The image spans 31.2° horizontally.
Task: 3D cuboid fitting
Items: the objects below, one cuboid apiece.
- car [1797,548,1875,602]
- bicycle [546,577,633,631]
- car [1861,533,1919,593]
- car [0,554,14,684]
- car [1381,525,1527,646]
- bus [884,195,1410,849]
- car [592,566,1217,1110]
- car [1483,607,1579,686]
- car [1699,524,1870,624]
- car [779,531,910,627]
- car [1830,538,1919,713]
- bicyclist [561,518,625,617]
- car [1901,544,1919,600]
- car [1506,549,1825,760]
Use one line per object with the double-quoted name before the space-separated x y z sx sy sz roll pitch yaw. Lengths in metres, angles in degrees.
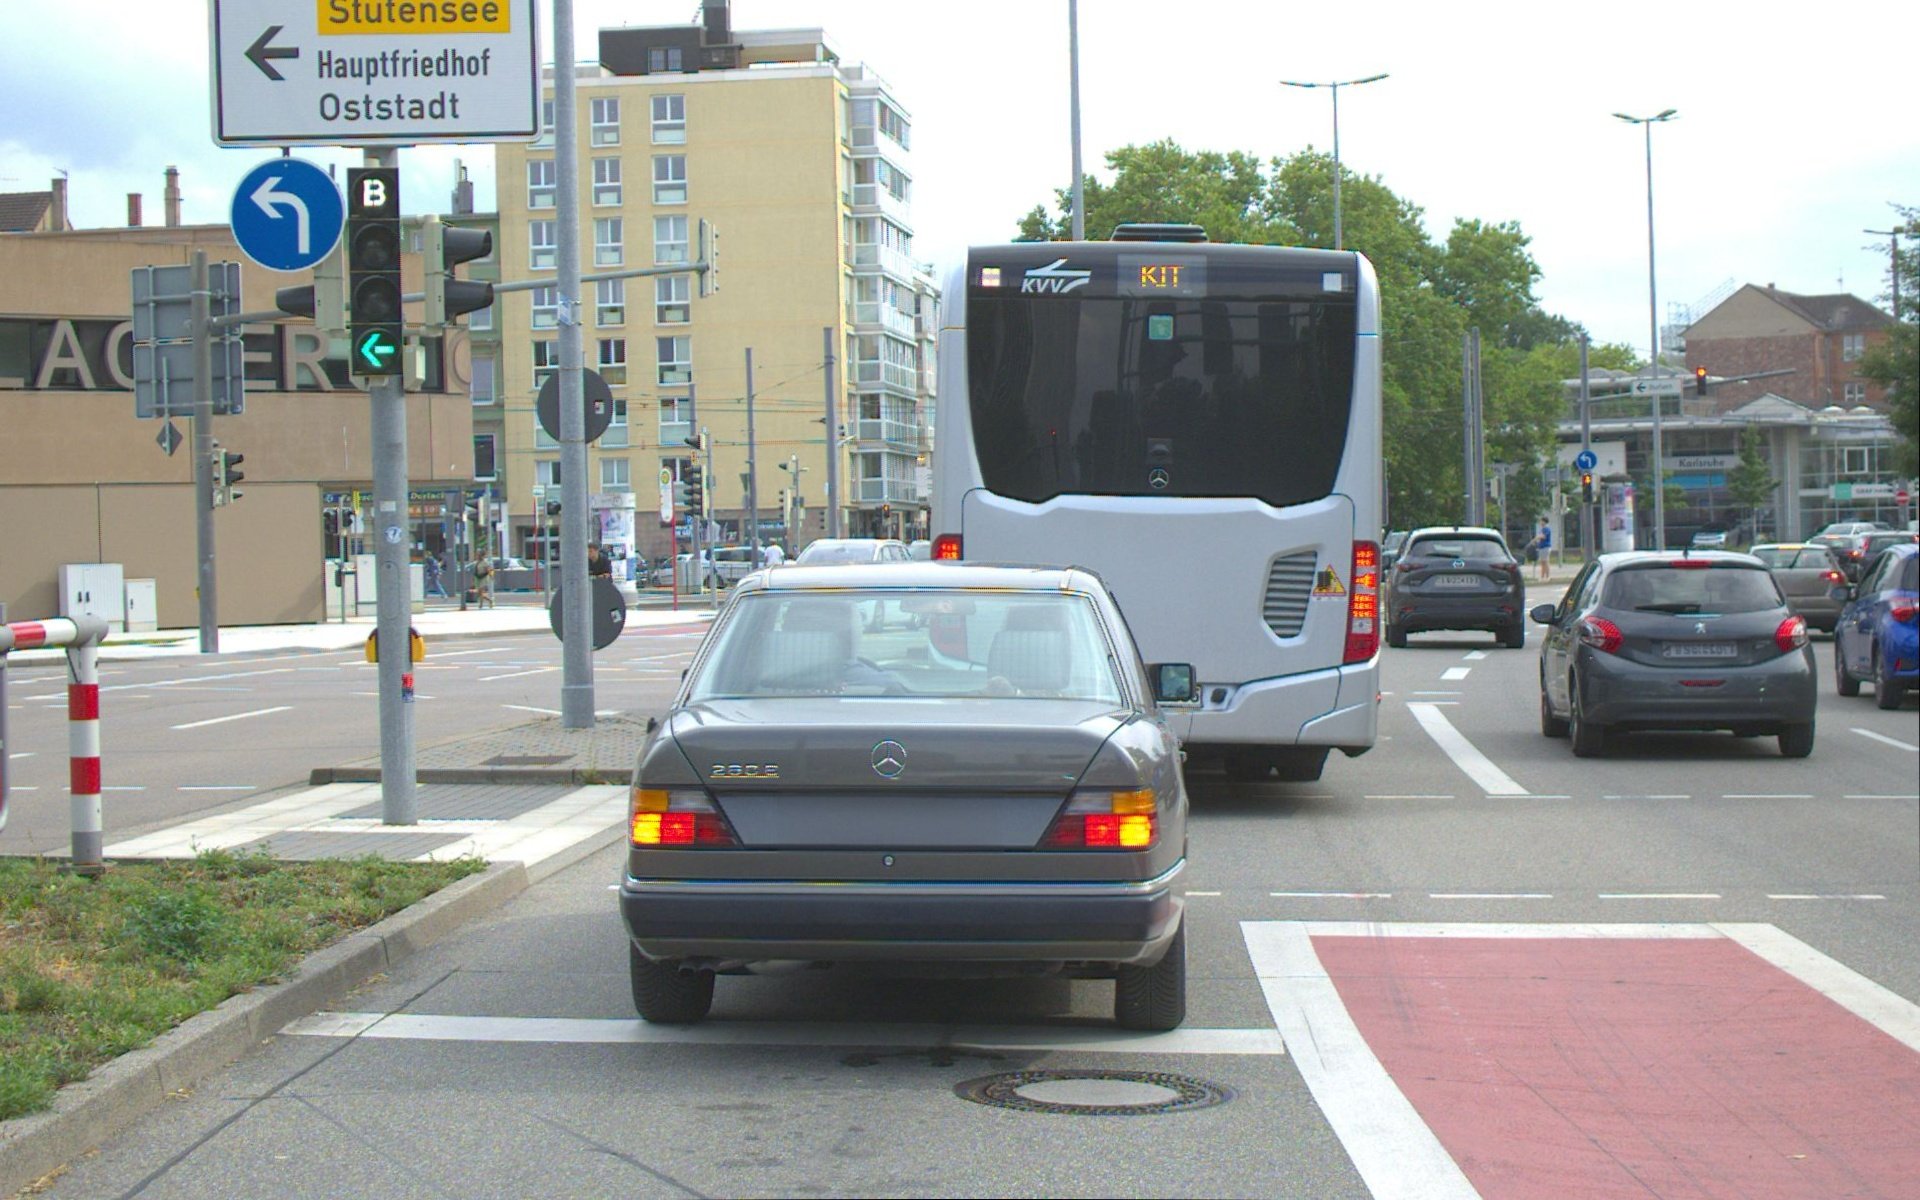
"car" 23.569 -0.669 92.440 1.712 1.415 3.996 1 1 19
"bicycle" -6.247 0.057 58.055 0.862 0.873 2.518 1 1 8
"car" 22.843 -0.883 83.261 1.705 1.415 3.697 1 1 19
"car" -12.945 0.194 38.634 3.988 1.481 1.999 1 0 9
"car" 6.853 -0.209 47.925 1.835 1.609 3.545 1 1 6
"bus" 1.517 -0.508 25.664 2.705 3.426 14.182 -2 1 4
"car" -0.209 0.632 11.621 1.695 1.475 4.416 1 1 -2
"car" 10.974 0.868 66.220 1.711 1.415 3.999 1 1 8
"car" 12.306 -0.393 51.148 2.134 1.415 3.697 1 1 19
"car" -2.034 -0.379 61.766 1.994 1.645 4.290 1 1 3
"car" 9.161 0.213 31.881 1.858 1.527 4.000 1 1 11
"bicyclist" -6.202 -0.547 58.130 0.867 1.663 0.881 1 0 8
"car" 25.571 -0.725 89.745 1.705 1.415 3.697 1 1 19
"car" 5.129 0.351 25.442 1.711 1.415 4.000 1 1 3
